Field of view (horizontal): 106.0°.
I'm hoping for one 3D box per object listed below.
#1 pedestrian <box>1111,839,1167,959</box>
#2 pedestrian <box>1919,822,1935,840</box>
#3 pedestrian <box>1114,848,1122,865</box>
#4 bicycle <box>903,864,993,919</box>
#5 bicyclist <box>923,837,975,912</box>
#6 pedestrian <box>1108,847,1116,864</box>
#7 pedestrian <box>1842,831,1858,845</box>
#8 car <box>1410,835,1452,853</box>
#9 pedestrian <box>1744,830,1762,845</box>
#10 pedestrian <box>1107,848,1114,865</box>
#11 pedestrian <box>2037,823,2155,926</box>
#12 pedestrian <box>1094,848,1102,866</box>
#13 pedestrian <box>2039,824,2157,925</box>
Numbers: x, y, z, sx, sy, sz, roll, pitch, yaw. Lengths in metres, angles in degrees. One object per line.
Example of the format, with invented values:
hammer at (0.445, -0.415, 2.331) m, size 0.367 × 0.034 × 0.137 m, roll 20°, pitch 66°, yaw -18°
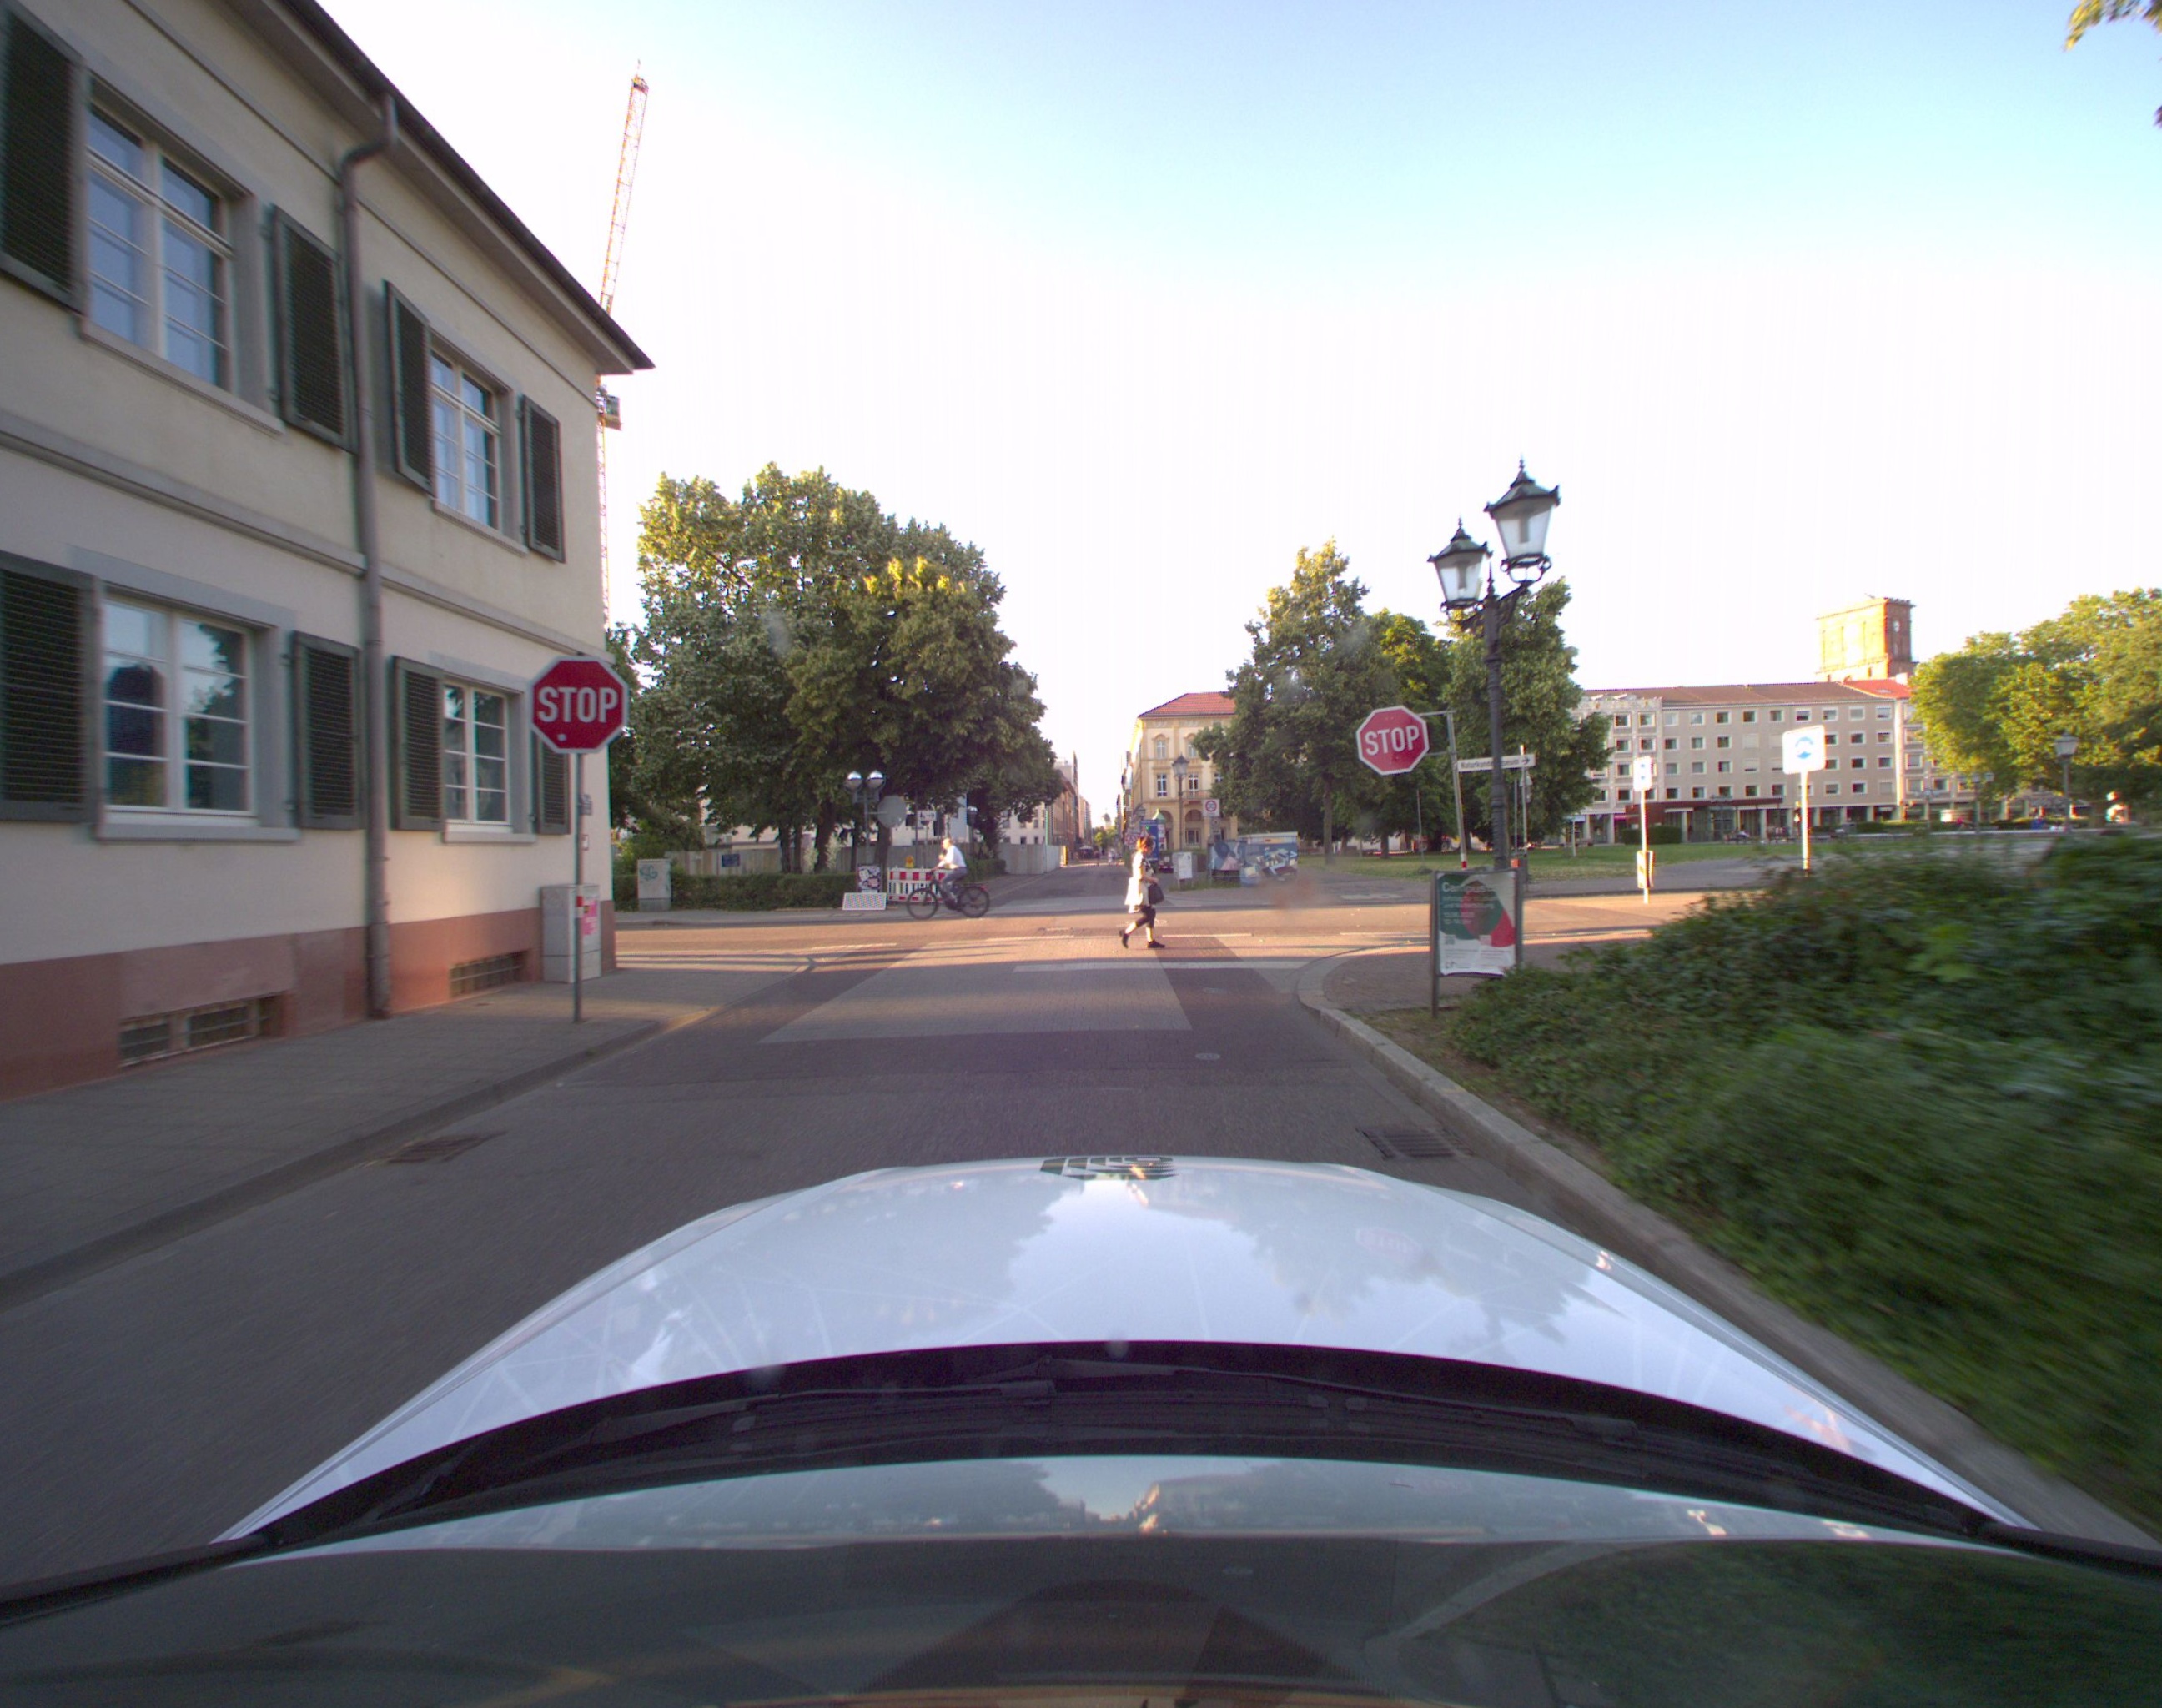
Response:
pedestrian at (0.847, 0.646, 12.121) m, size 0.731 × 1.689 × 0.836 m, roll -2°, pitch 0°, yaw 1°
pedestrian at (52.762, -1.433, 50.787) m, size 0.514 × 1.077 × 0.614 m, roll -2°, pitch 0°, yaw -38°
pedestrian at (3.521, 0.208, 77.686) m, size 0.655 × 1.617 × 0.745 m, roll -2°, pitch 0°, yaw 2°
bicycle at (-2.954, 0.833, 18.270) m, size 1.925 × 1.121 × 0.595 m, roll -2°, pitch 0°, yaw -6°
bicyclist at (-2.952, 0.452, 18.275) m, size 1.059 × 1.633 × 0.595 m, roll -2°, pitch 0°, yaw -6°
pedestrian at (2.994, 0.164, 79.128) m, size 0.655 × 1.635 × 0.745 m, roll -2°, pitch 0°, yaw 2°
pedestrian at (51.128, -1.060, 54.160) m, size 0.512 × 0.924 × 0.616 m, roll -2°, pitch 0°, yaw -24°
car at (40.857, -1.165, 94.997) m, size 4.015 × 2.013 × 2.002 m, roll -2°, pitch 0°, yaw 3°
pedestrian at (50.906, -1.257, 61.687) m, size 0.889 × 1.077 × 0.624 m, roll -2°, pitch 0°, yaw 19°
pedestrian at (2.813, 0.237, 77.670) m, size 0.655 × 1.617 × 0.745 m, roll -2°, pitch 0°, yaw 2°
pedestrian at (12.913, 0.250, 10.372) m, size 0.685 × 1.237 × 0.811 m, roll -2°, pitch 0°, yaw -28°
pedestrian at (1.666, 0.283, 79.009) m, size 0.655 × 1.760 × 0.745 m, roll -2°, pitch 0°, yaw 2°
pedestrian at (13.439, 0.257, 10.778) m, size 0.600 × 1.261 × 0.865 m, roll -2°, pitch 0°, yaw -29°
